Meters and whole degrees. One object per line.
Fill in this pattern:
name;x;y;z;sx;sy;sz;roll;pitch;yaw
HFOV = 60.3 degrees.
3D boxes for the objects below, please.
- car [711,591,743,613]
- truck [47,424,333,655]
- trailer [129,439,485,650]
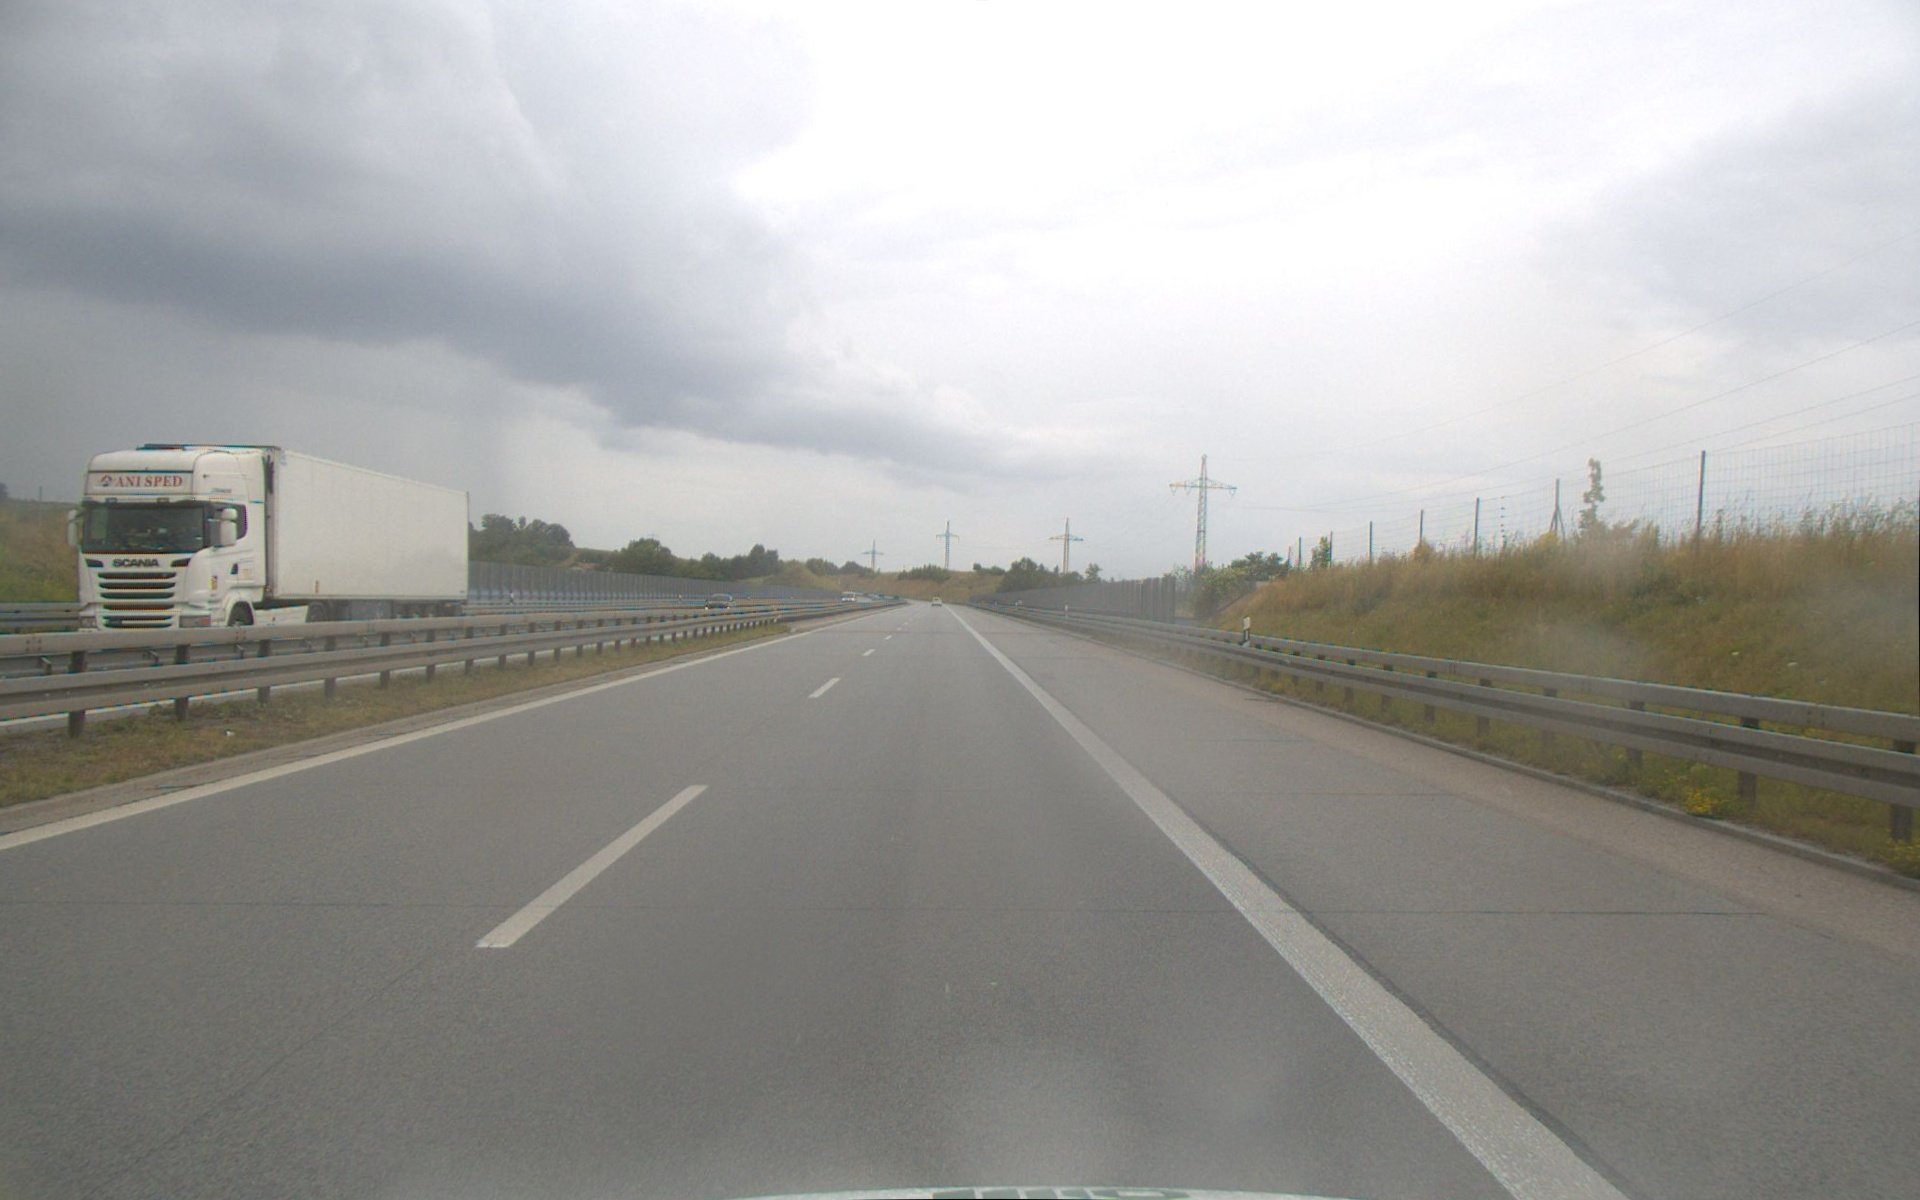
car;-15.572;0.113;110.502;1.597;1.434;3.999;1;0;-1
truck;-14.540;-1.072;31.766;2.892;3.994;5.517;1;0;-1
trailer;-14.638;-1.086;39.040;2.858;3.994;14.272;1;0;-1
